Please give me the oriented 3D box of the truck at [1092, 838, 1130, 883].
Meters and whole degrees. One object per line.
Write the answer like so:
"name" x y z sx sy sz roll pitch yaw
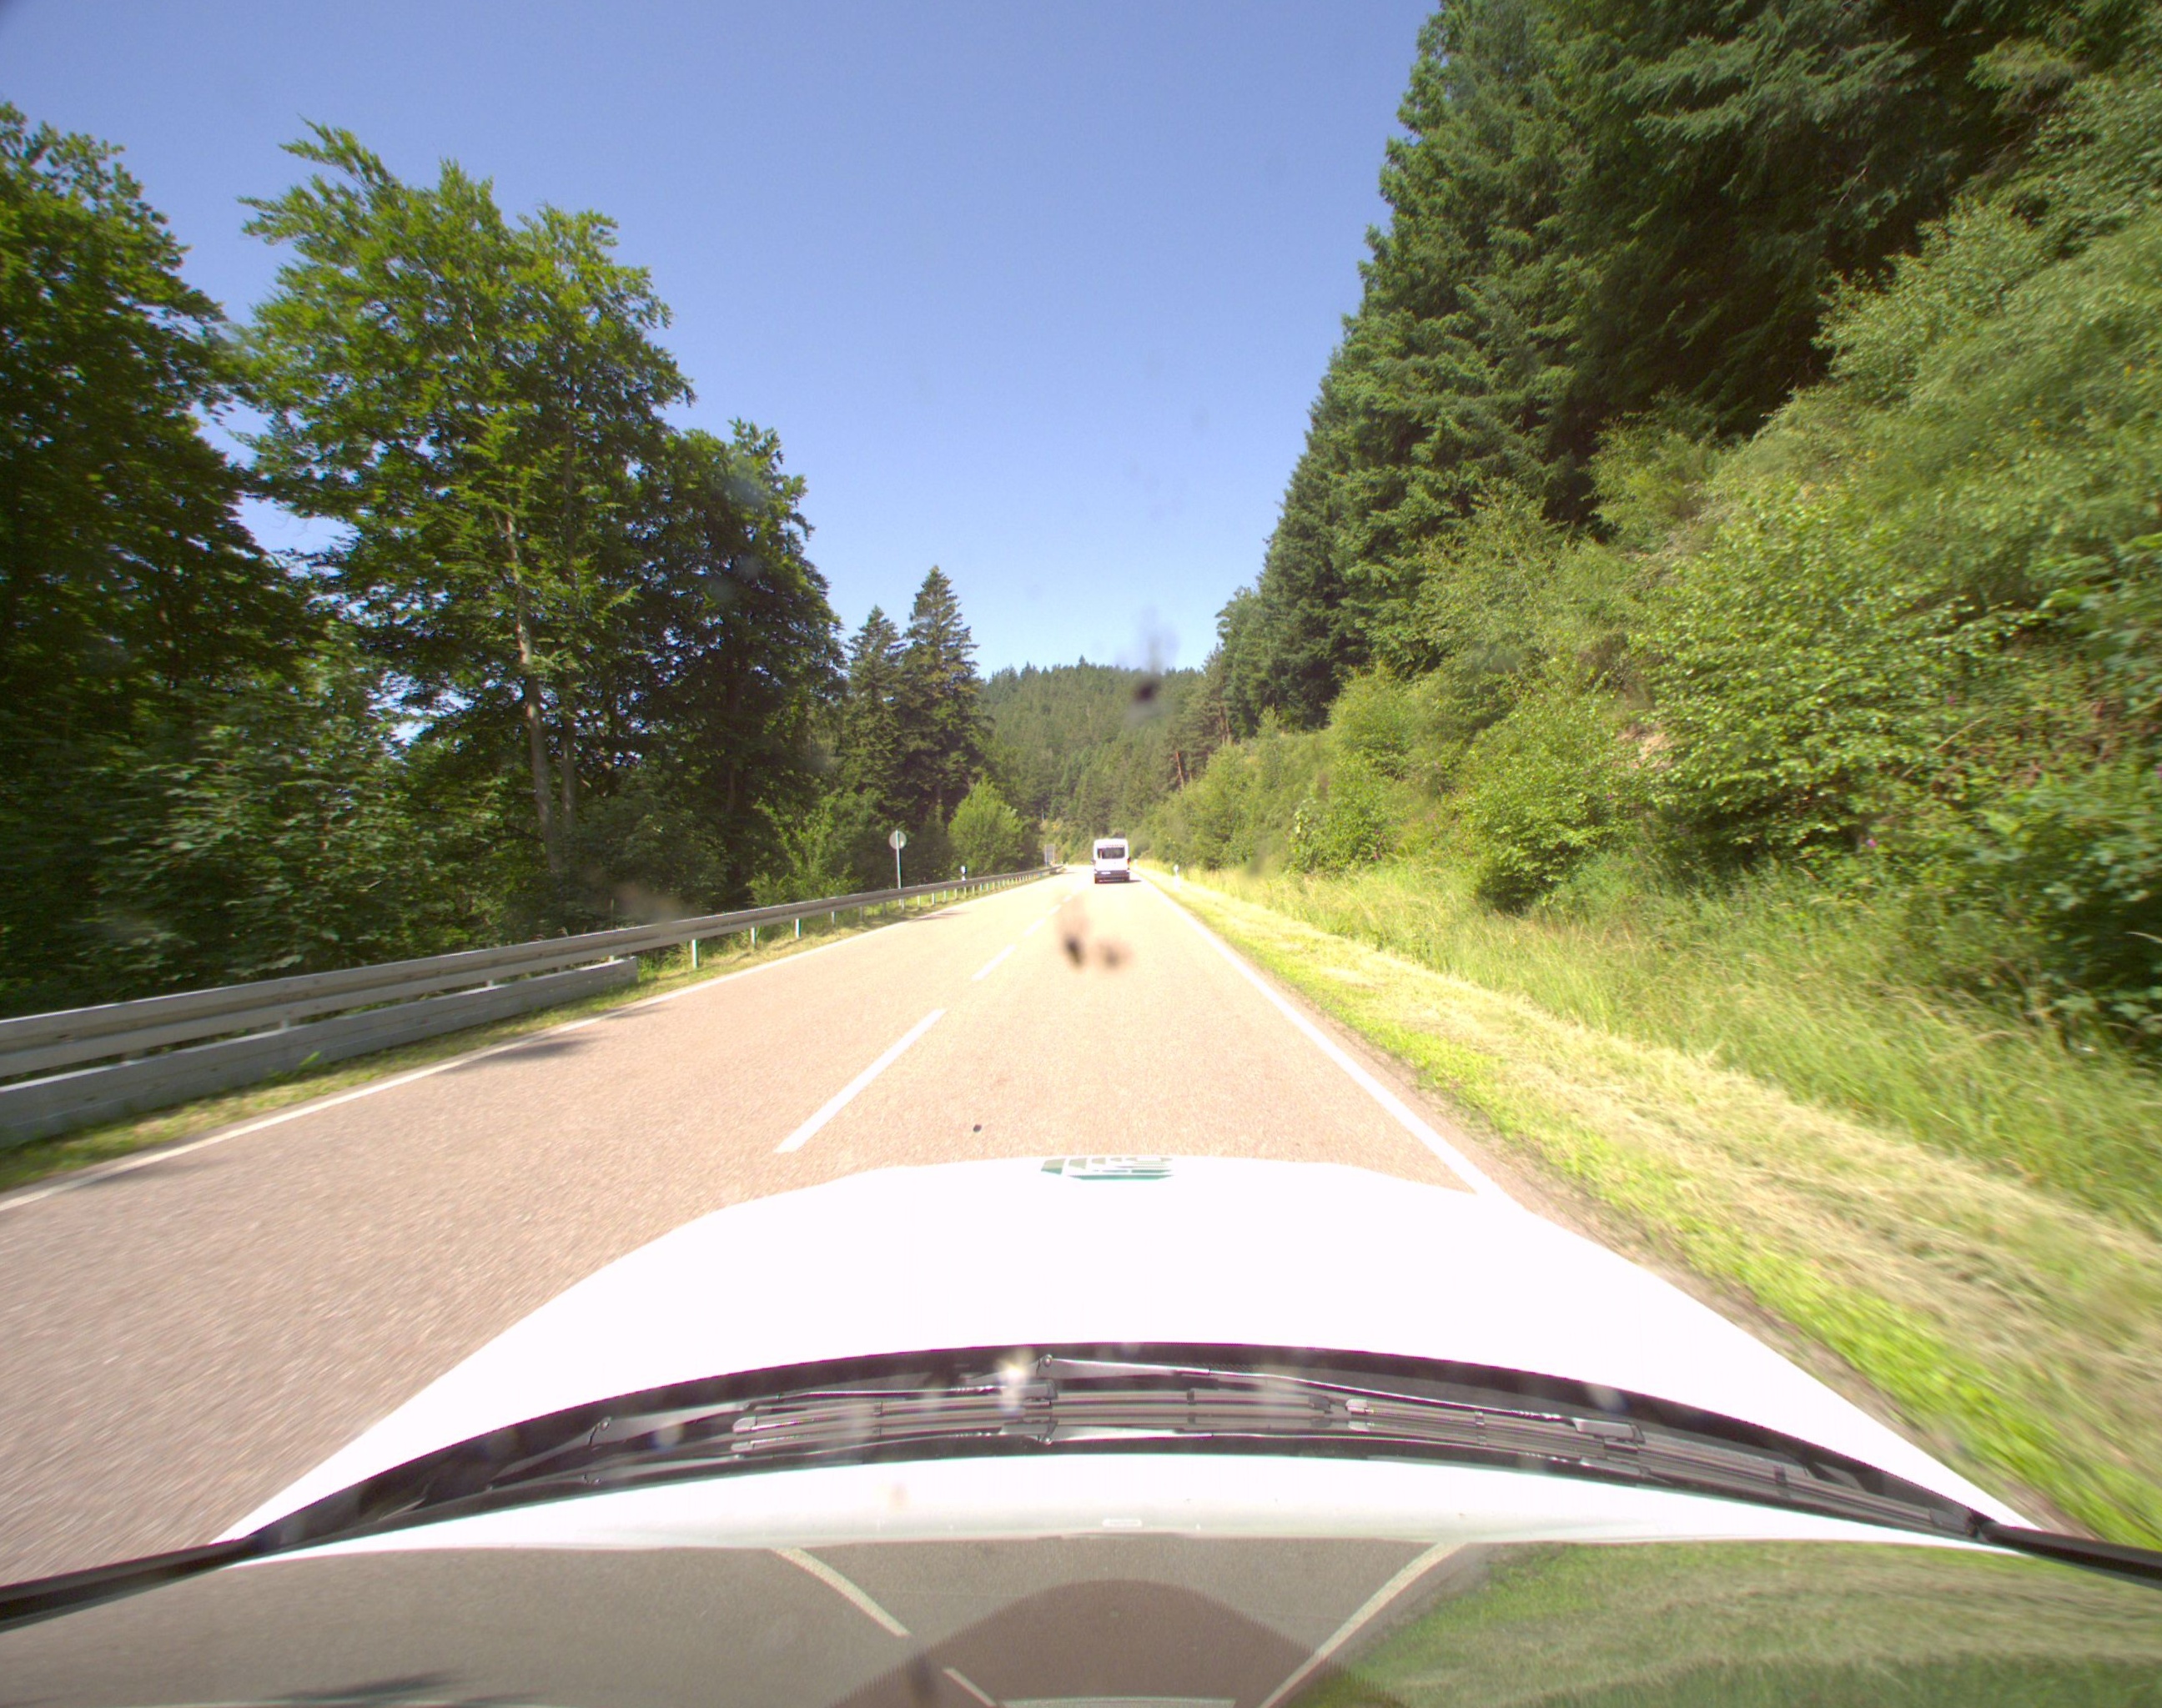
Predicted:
"truck" 1.735 0.388 47.263 2.075 2.460 4.877 -1 -1 2
